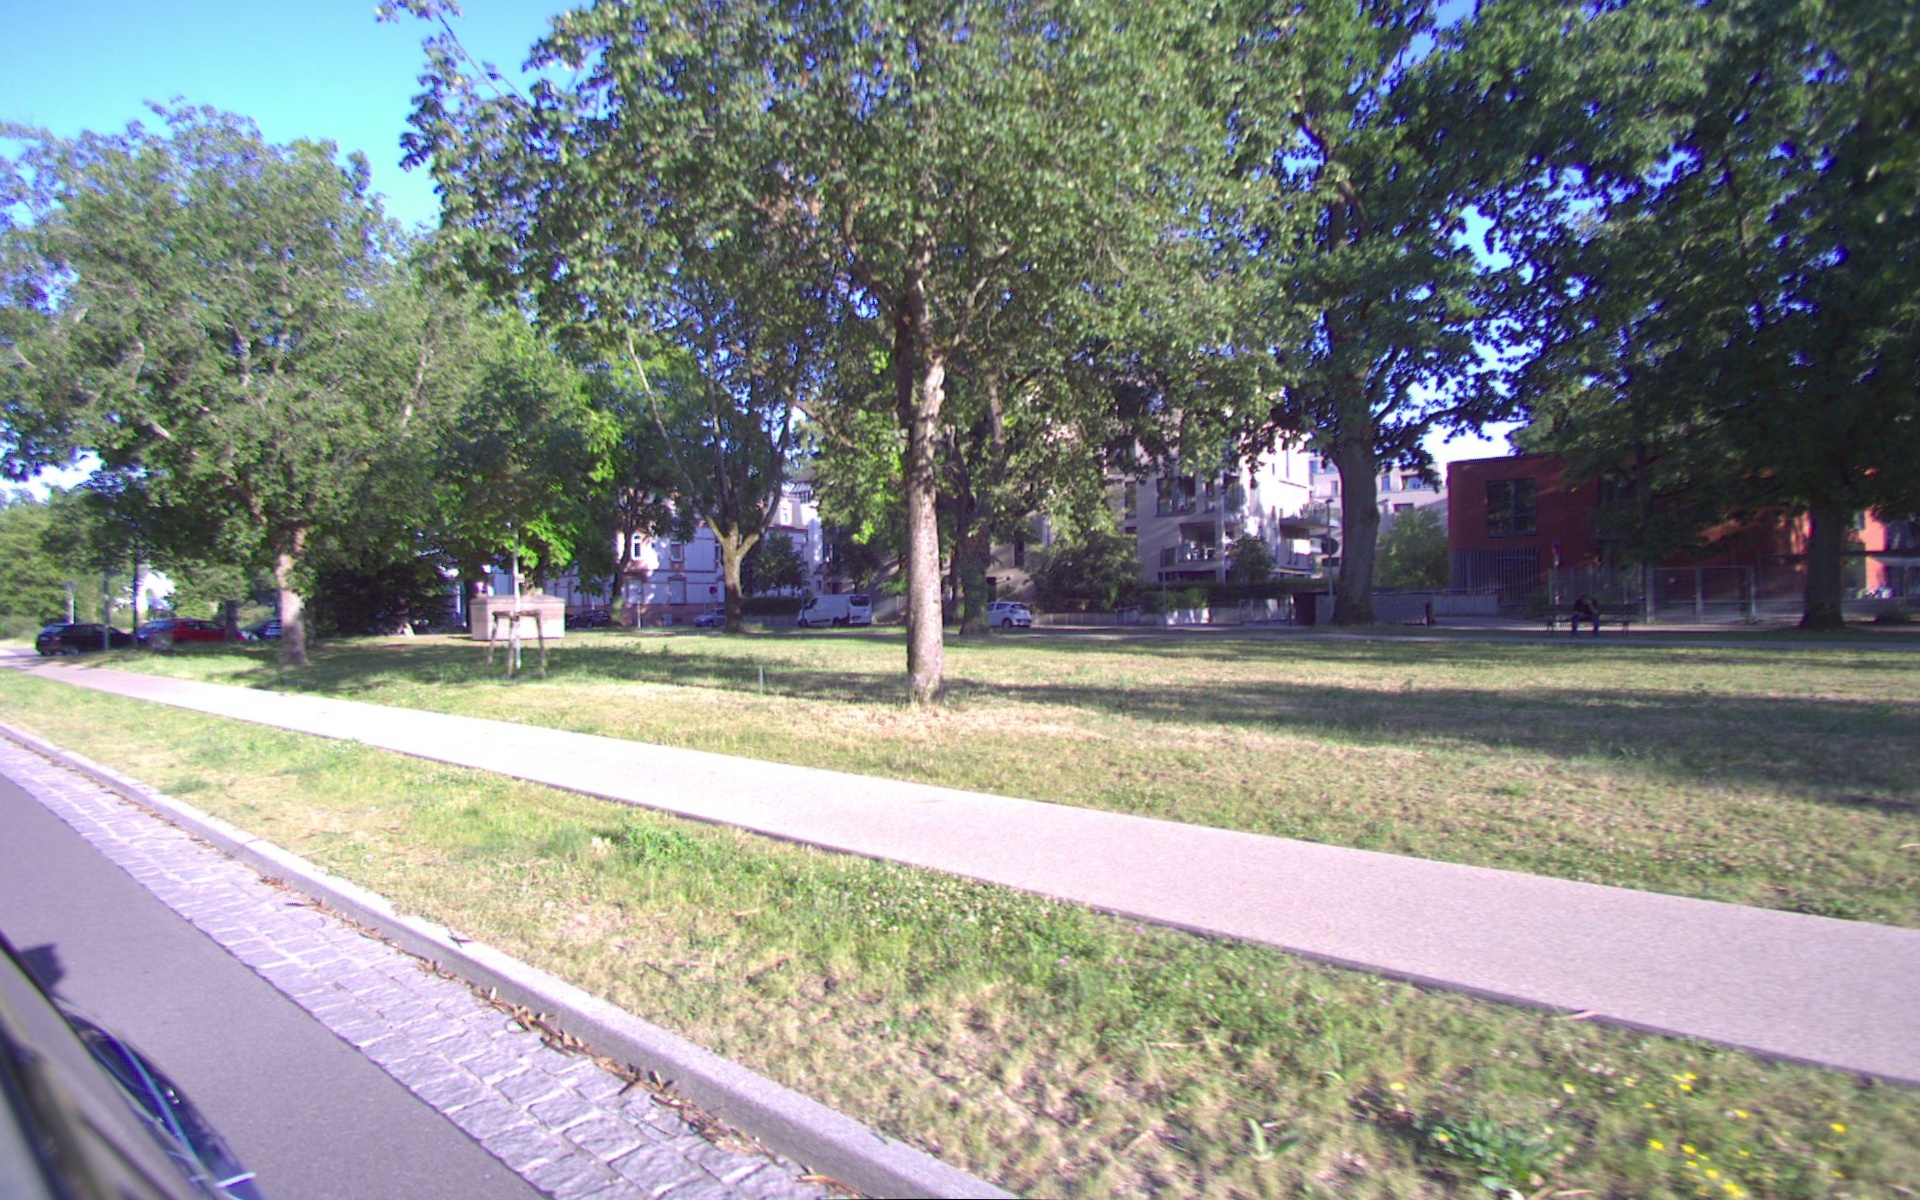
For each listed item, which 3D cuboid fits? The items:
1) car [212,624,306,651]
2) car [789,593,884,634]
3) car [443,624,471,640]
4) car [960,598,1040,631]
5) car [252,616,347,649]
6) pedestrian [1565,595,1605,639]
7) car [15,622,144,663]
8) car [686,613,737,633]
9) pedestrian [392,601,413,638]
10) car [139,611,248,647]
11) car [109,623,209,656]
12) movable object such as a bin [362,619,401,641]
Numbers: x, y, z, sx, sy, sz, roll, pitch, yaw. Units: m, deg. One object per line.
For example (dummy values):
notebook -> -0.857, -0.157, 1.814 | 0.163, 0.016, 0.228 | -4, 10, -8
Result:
car -> -40.502, 2.145, 58.553 | 1.825, 1.411, 4.250 | -1, -1, 19
car -> -6.919, 0.747, 56.489 | 4.968, 2.130, 2.641 | -2, 0, 42
car -> -54.933, 3.462, 110.506 | 1.860, 1.586, 4.608 | 0, 1, -38
car -> 2.071, 0.781, 52.796 | 3.736, 1.630, 1.973 | -2, 0, 41
car -> -35.571, 1.709, 54.591 | 1.877, 1.586, 3.973 | 0, 0, 20
pedestrian -> 14.443, 0.384, 23.387 | 0.541, 0.994, 0.611 | 0, -1, -39
car -> -39.016, 1.838, 44.970 | 1.874, 1.586, 3.979 | 0, 0, 16
car -> -21.564, 1.957, 87.818 | 1.890, 1.586, 3.946 | 0, 1, 40
pedestrian -> -26.350, 0.935, 47.818 | 0.671, 1.708, 0.655 | -2, 0, 39
car -> -37.410, 1.391, 49.508 | 1.874, 1.586, 3.979 | 0, 0, 16
car -> -42.214, 2.062, 53.432 | 1.824, 1.643, 3.825 | -1, -1, 17
movable object such as a bin -> -26.883, 1.400, 47.005 | 0.948, 0.997, 1.316 | -1, -1, 38
